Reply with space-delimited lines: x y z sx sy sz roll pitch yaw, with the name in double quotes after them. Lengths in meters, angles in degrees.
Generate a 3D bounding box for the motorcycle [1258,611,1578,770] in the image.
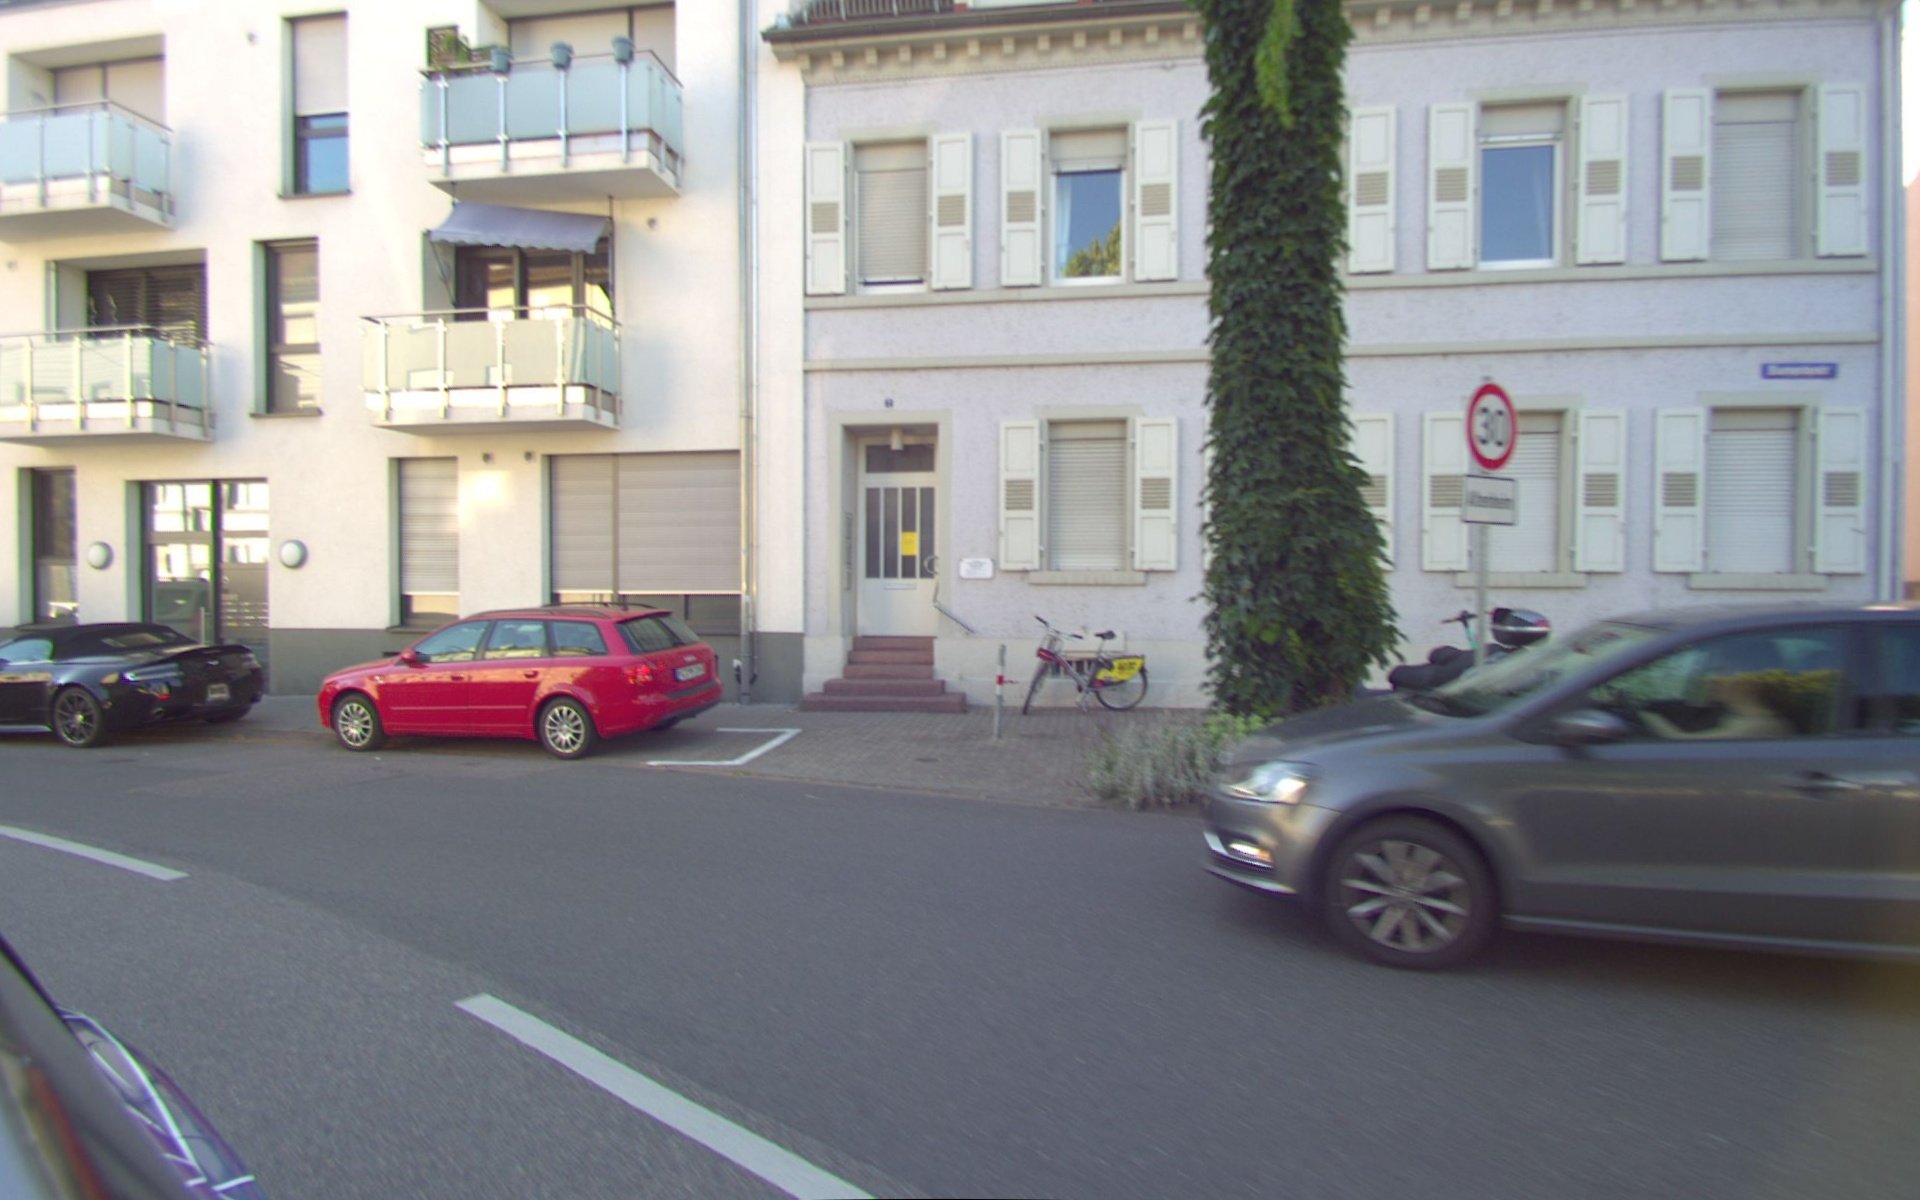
4.176 0.800 9.385 2.527 1.367 0.934 0 1 -1 "motorcycle"

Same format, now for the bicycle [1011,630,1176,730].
1.540 0.926 11.875 1.845 1.118 0.578 0 1 1 "bicycle"

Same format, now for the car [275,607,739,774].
-4.841 0.873 10.892 4.552 1.477 1.705 -1 2 17 "car"

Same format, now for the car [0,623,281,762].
-10.187 0.978 11.629 3.984 1.283 1.664 0 2 12 "car"

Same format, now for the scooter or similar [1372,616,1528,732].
5.444 0.805 11.279 1.517 1.238 0.511 0 1 -7 "scooter or similar"

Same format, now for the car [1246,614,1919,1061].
3.125 0.777 4.096 3.709 1.414 1.707 0 -2 19 "car"
